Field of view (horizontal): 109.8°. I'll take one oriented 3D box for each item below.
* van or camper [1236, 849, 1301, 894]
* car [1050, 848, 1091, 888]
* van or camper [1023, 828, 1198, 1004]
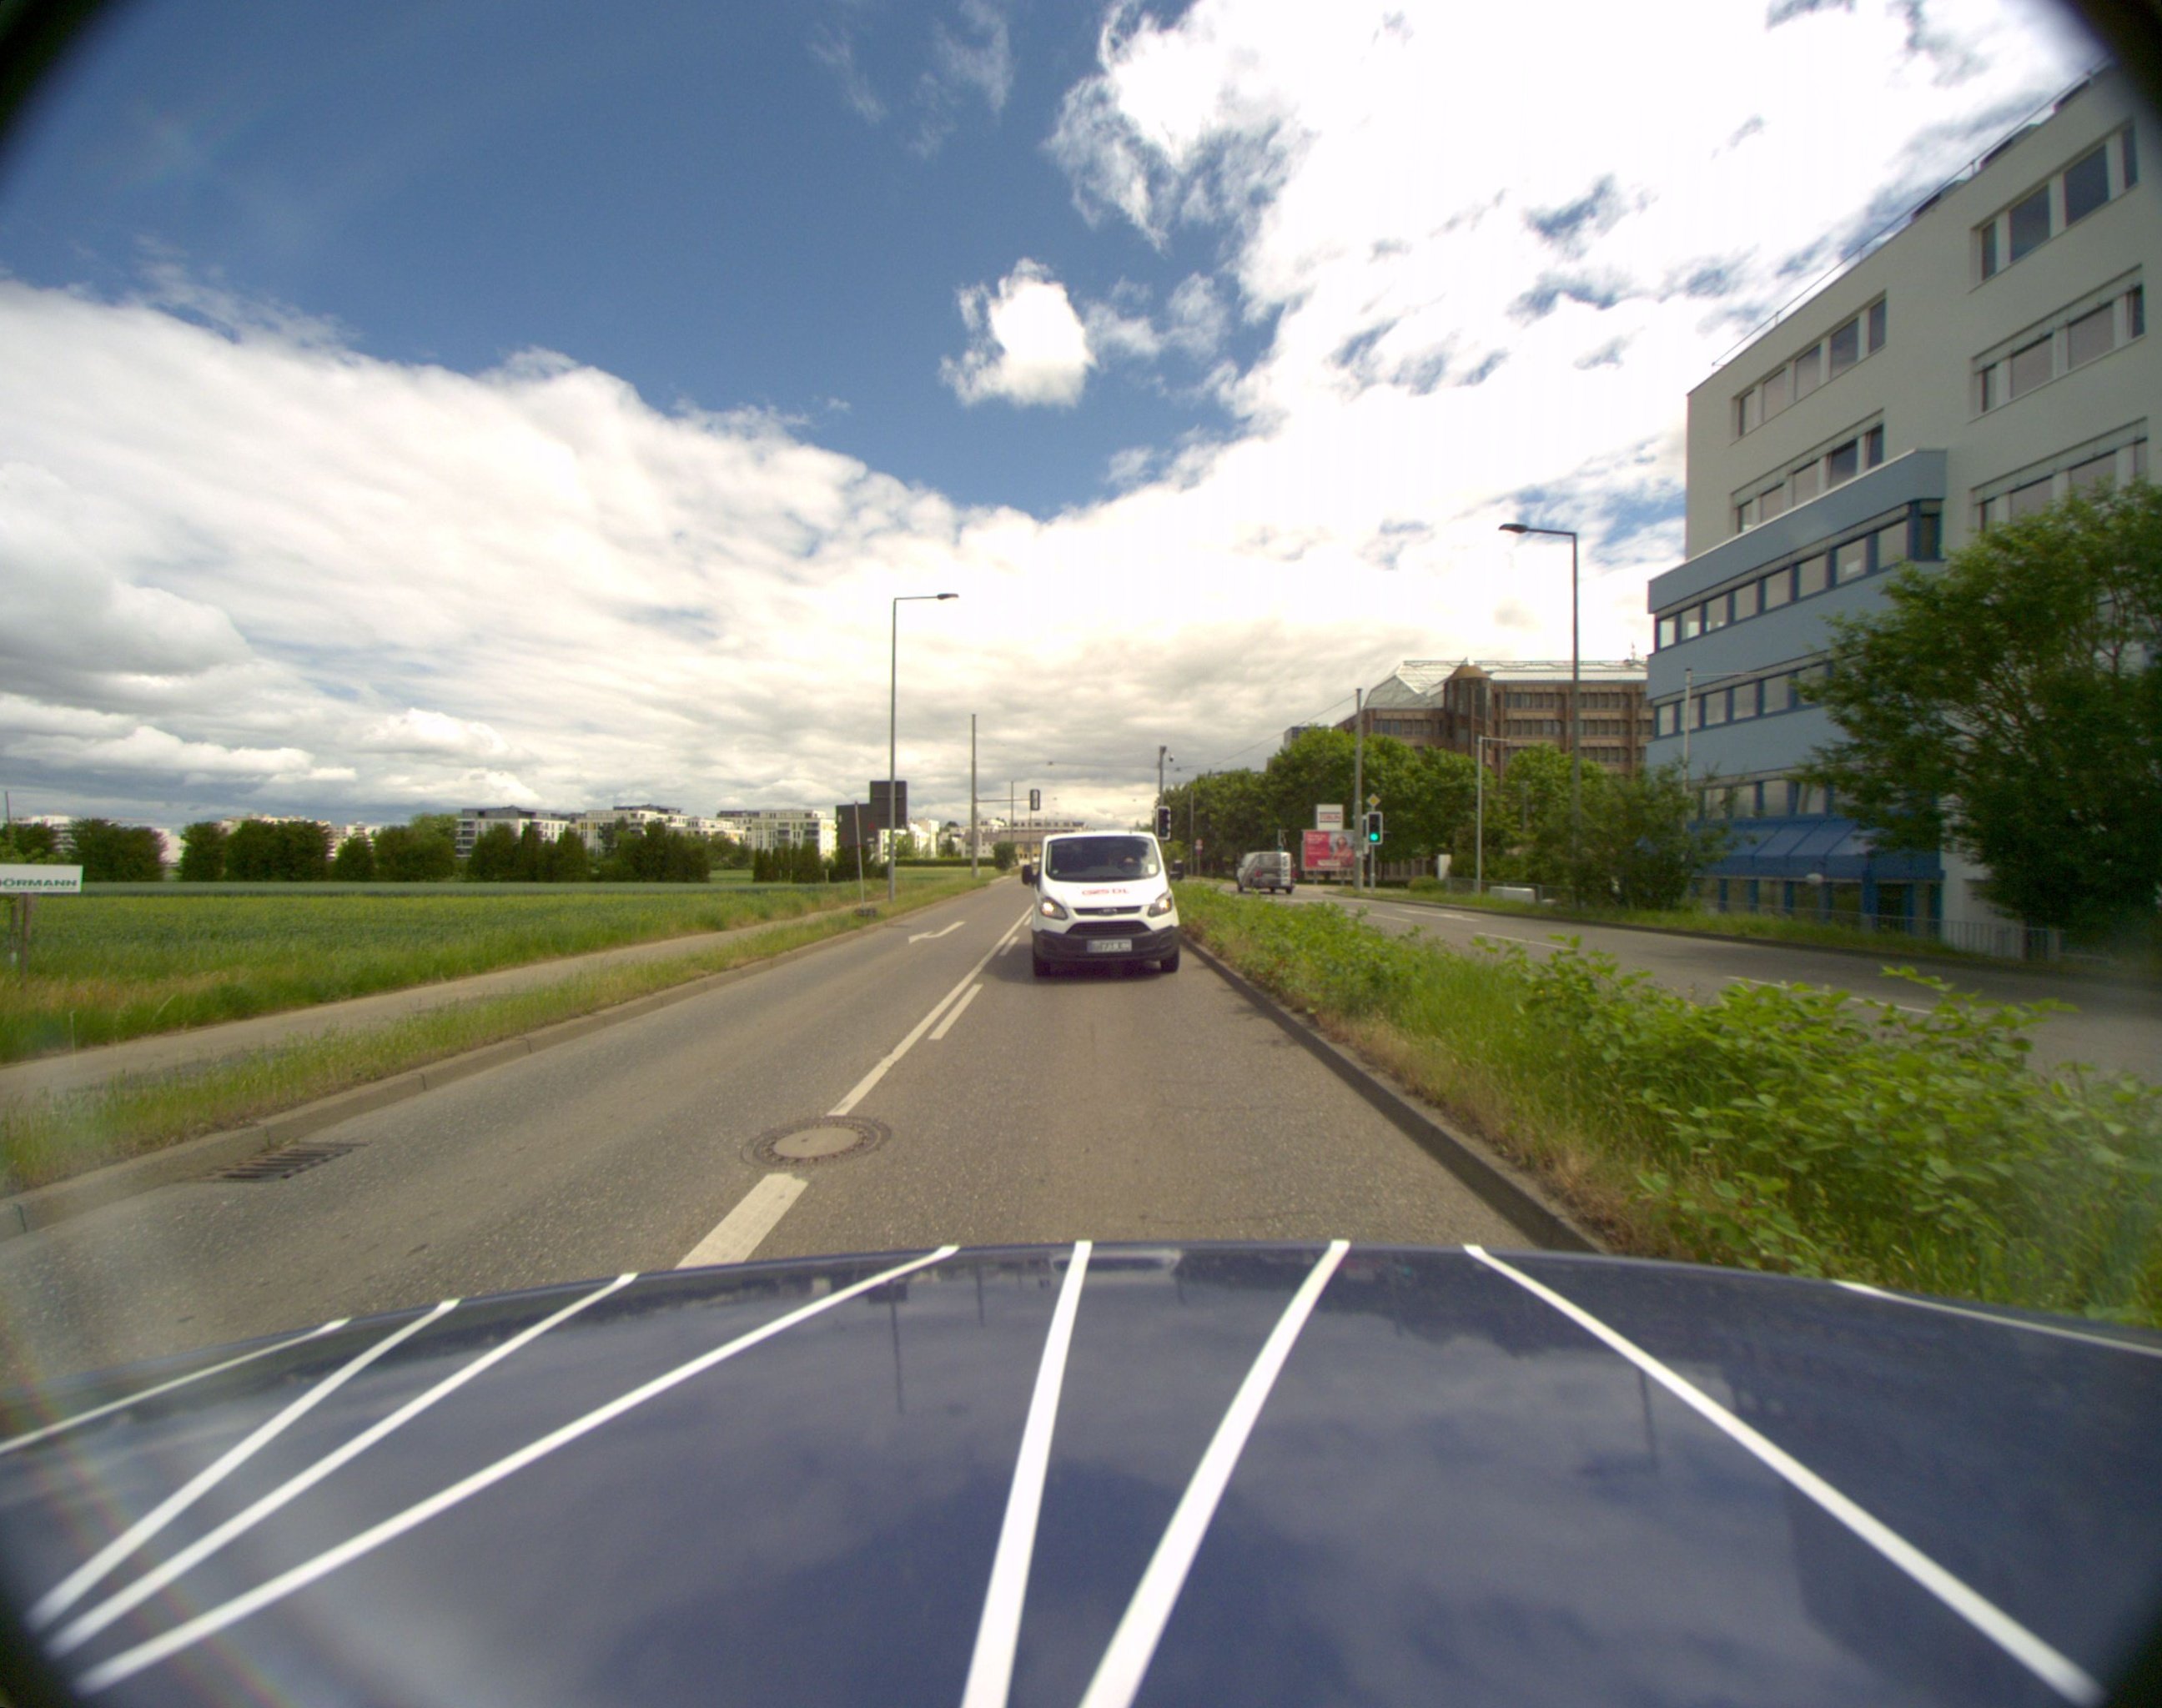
[{"bbox_3d":[8.914,0.796,36.588,1.998,2.002,4.816,-1,0,1],"label":"van or camper"},{"bbox_3d":[-0.504,0.716,40.169,1.998,2.002,4.000,-1,0,1],"label":"car"},{"bbox_3d":[0.253,0.722,11.570,1.999,2.002,5.798,0,0,-2],"label":"van or camper"}]
